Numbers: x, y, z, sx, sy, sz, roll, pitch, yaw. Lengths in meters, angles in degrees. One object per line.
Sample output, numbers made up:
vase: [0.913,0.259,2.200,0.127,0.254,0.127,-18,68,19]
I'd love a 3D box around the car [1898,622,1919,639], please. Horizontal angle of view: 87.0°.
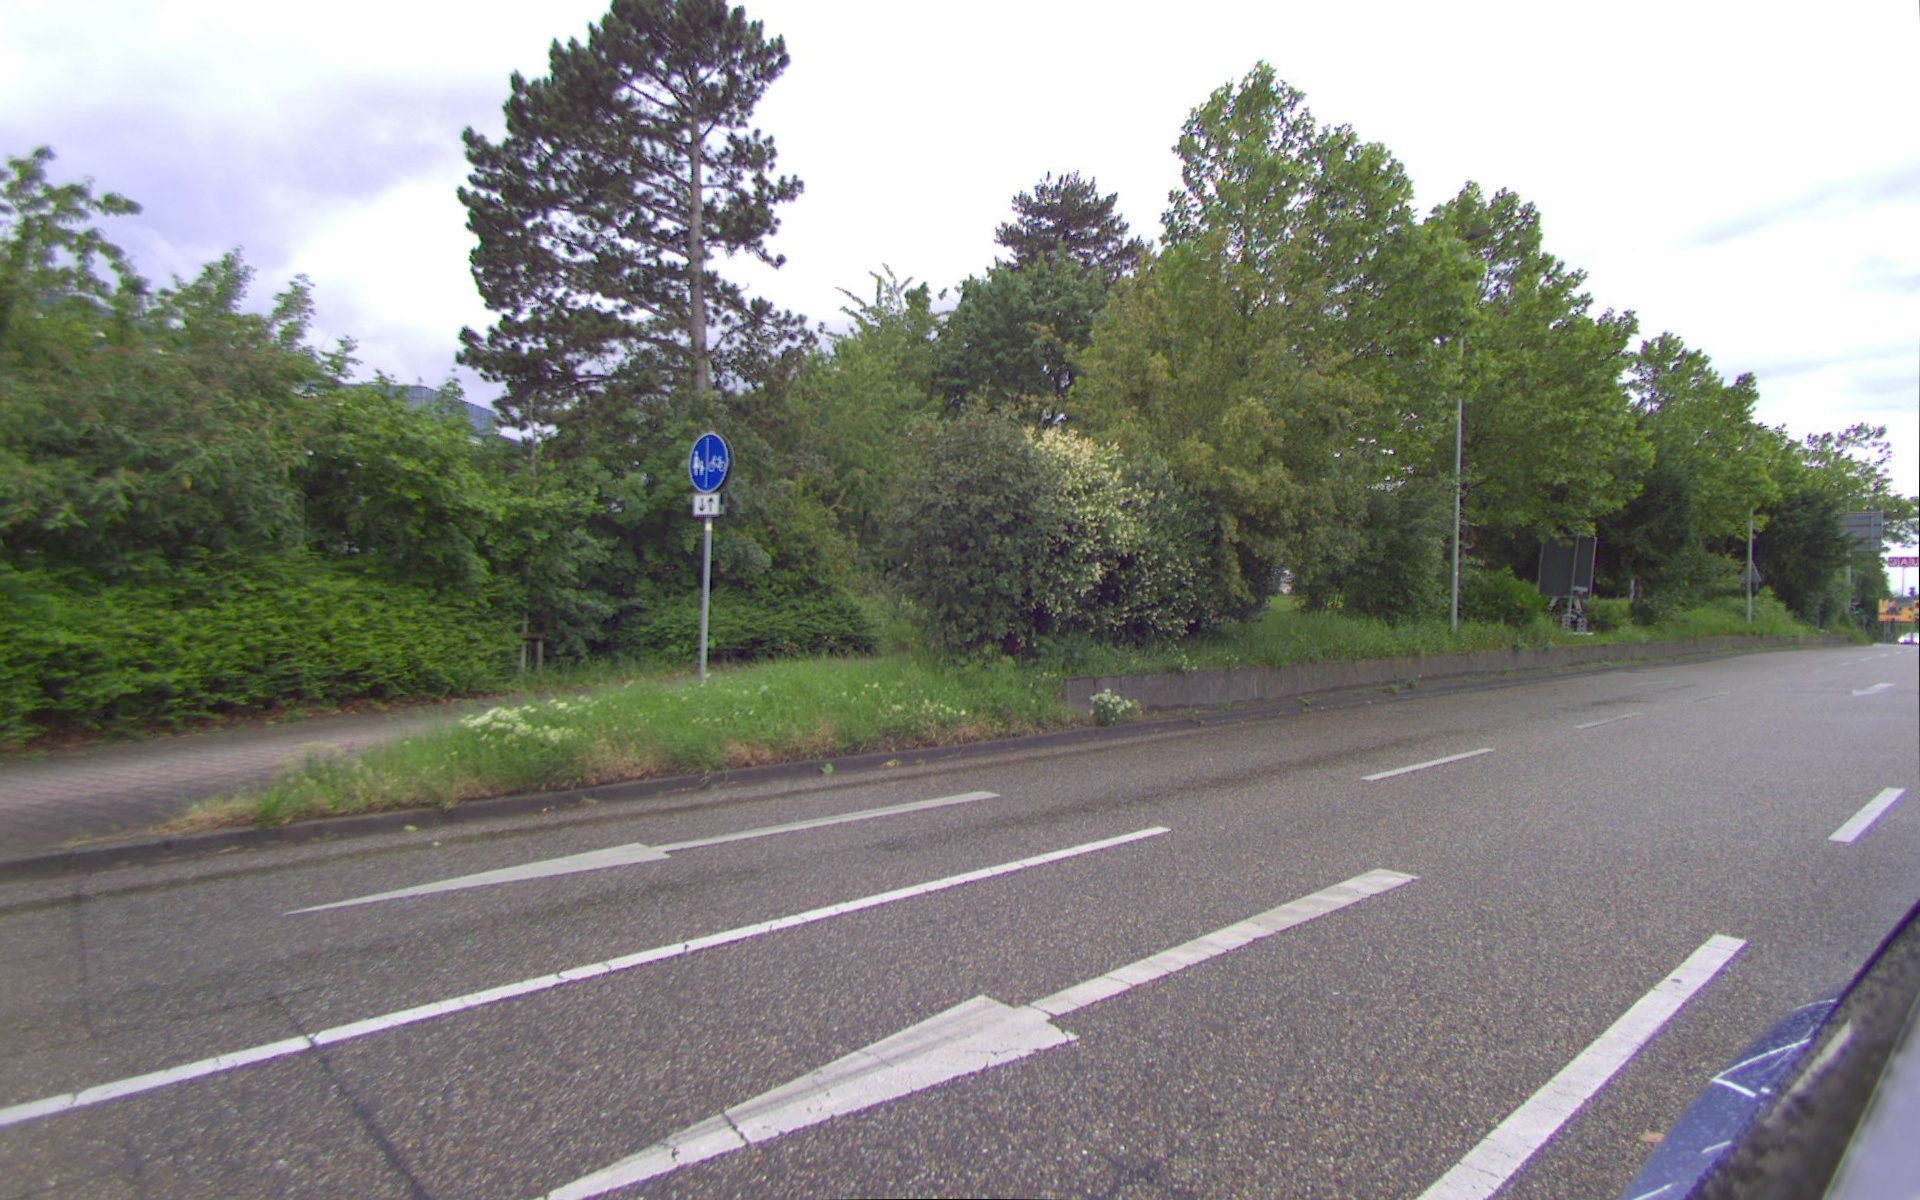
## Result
car: [107.033,3.453,113.992,3.935,1.750,1.808,-1,0,-45]
